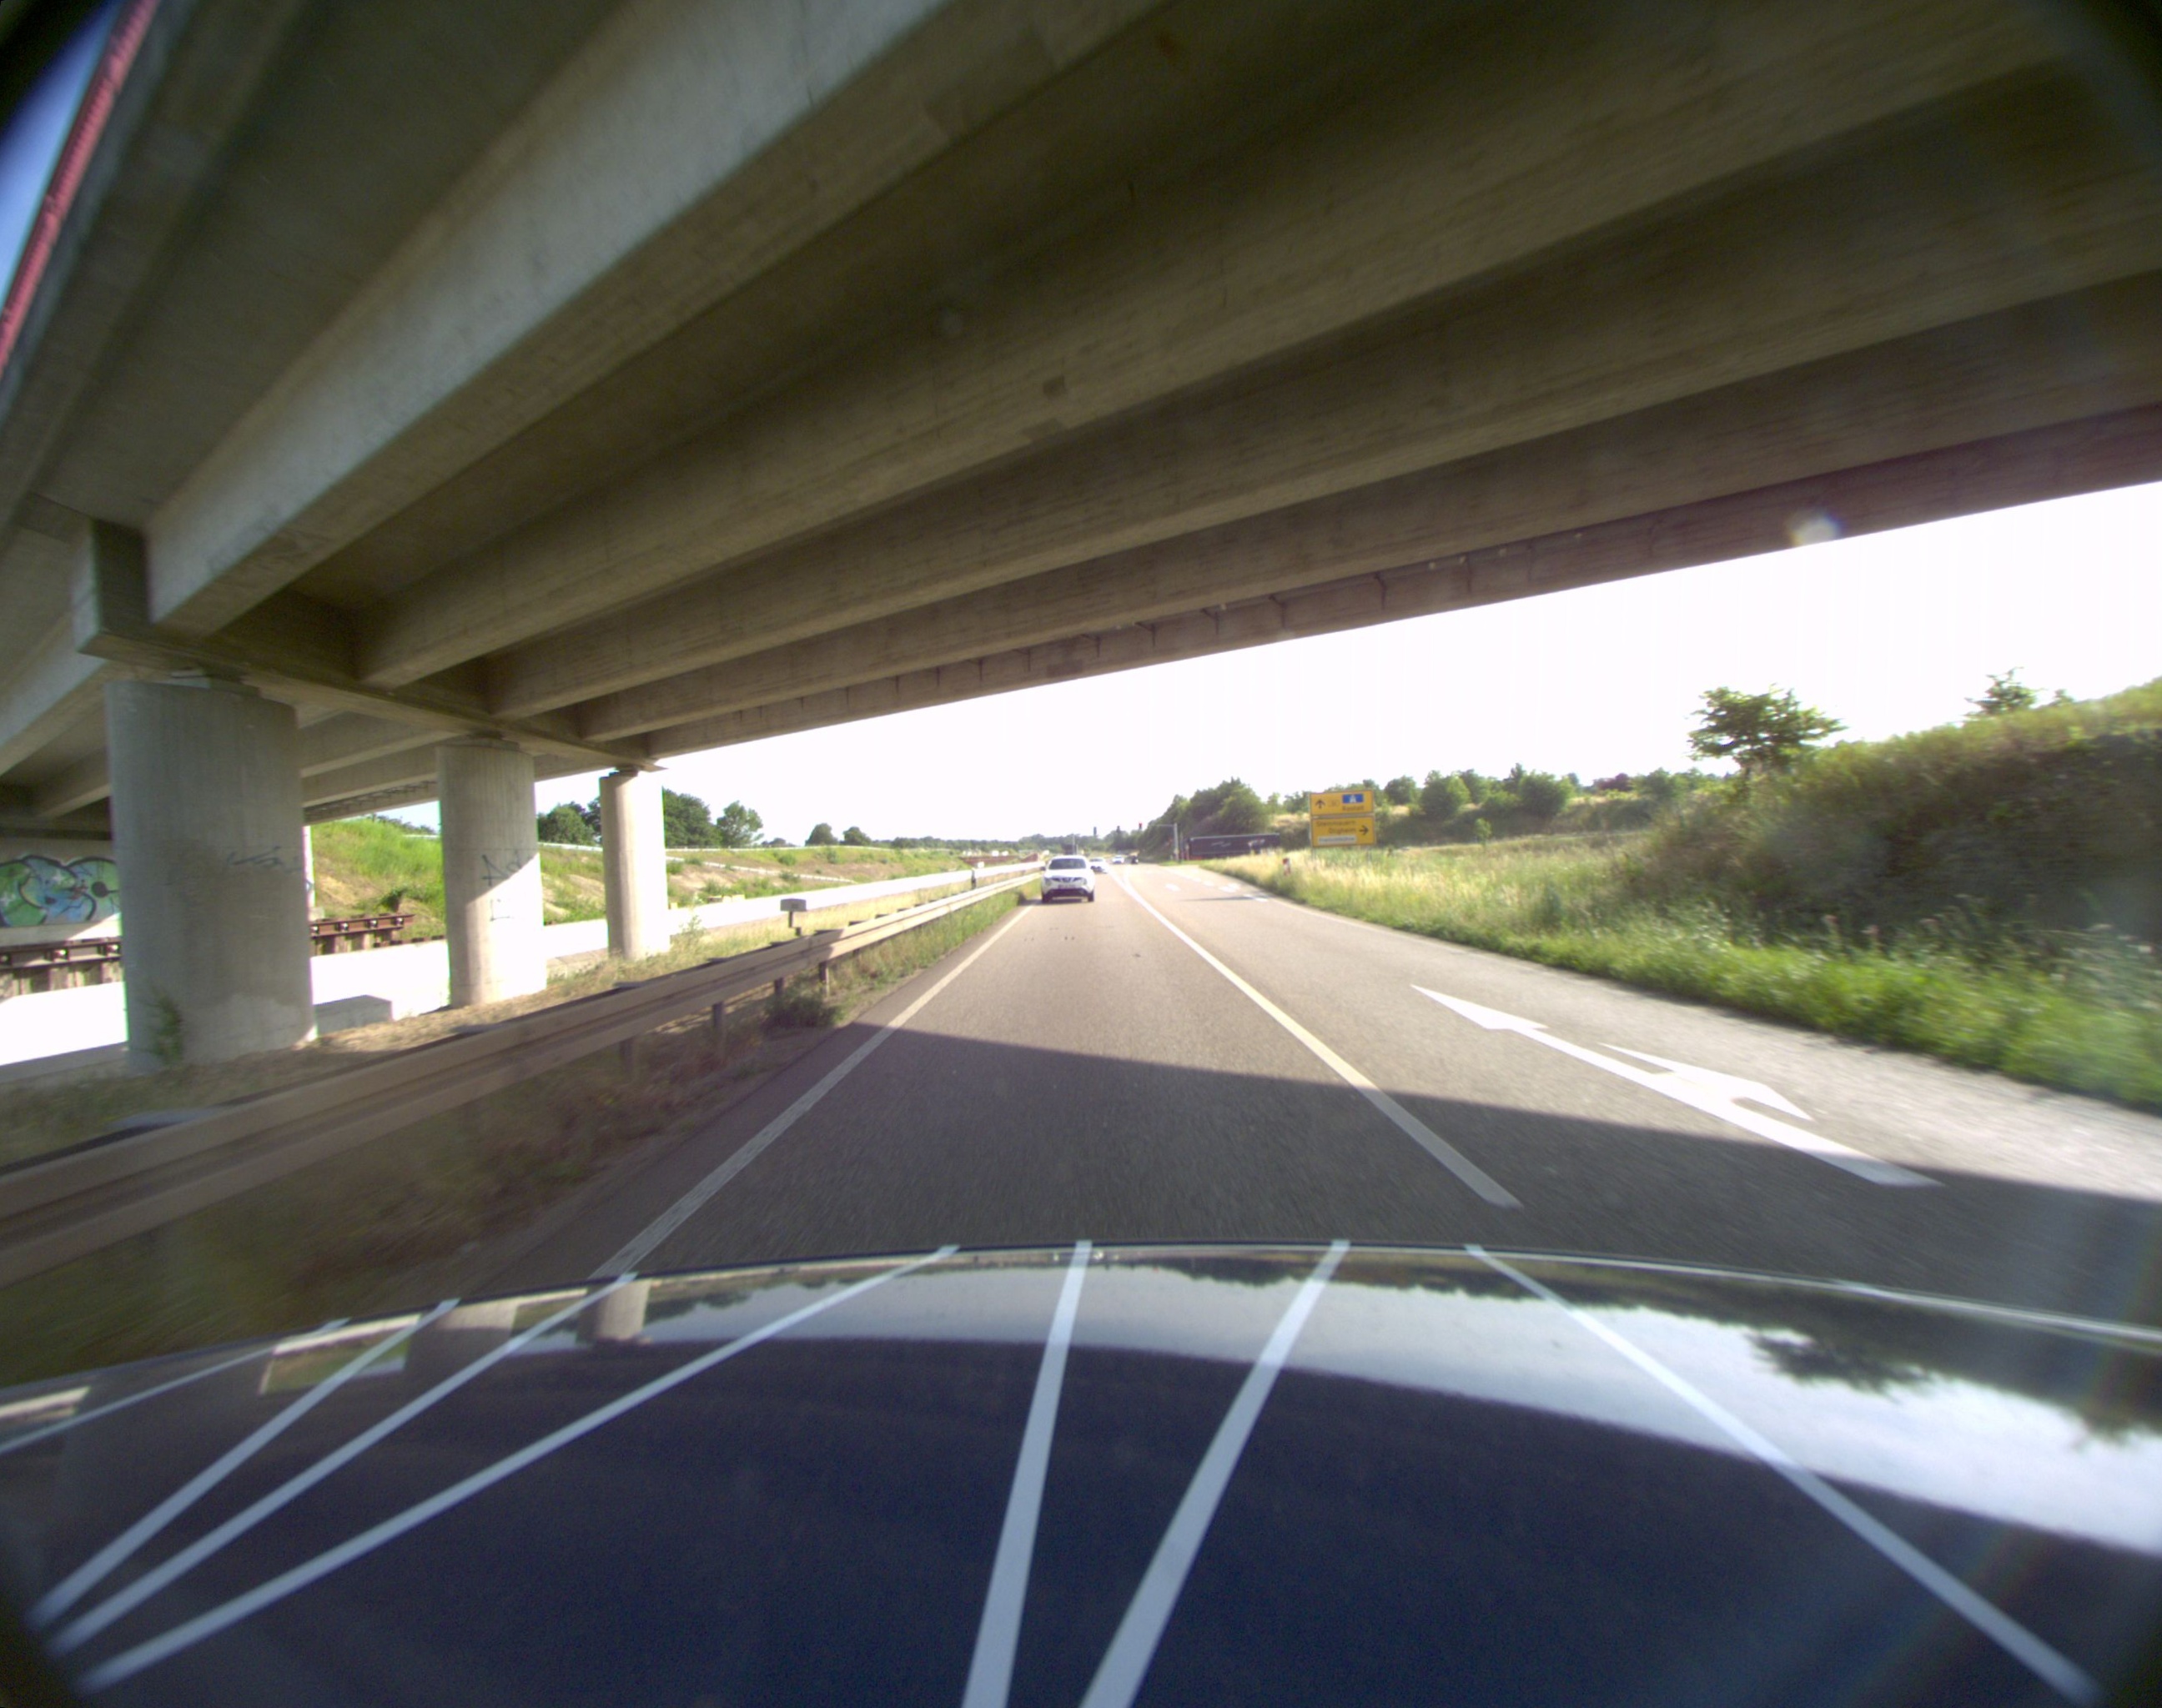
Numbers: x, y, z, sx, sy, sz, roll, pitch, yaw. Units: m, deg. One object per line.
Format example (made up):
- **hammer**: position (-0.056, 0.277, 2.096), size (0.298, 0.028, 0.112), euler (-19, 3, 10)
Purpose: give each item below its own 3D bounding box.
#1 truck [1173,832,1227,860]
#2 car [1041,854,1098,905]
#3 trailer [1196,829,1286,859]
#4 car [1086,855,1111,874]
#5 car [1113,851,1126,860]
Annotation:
- **truck**: position (19.302, -1.273, 122.991), size (8.387, 4.089, 3.562), euler (-3, 1, 11)
- **car**: position (-0.472, 0.835, 26.936), size (1.789, 1.593, 4.571), euler (-2, 0, -3)
- **trailer**: position (25.572, -1.573, 121.684), size (13.777, 4.089, 3.562), euler (-3, 1, 11)
- **car**: position (1.513, 0.914, 67.854), size (1.908, 1.512, 4.464), euler (-2, 0, -1)
- **car**: position (6.786, 0.248, 133.069), size (1.998, 1.602, 4.199), euler (-2, 0, 5)
